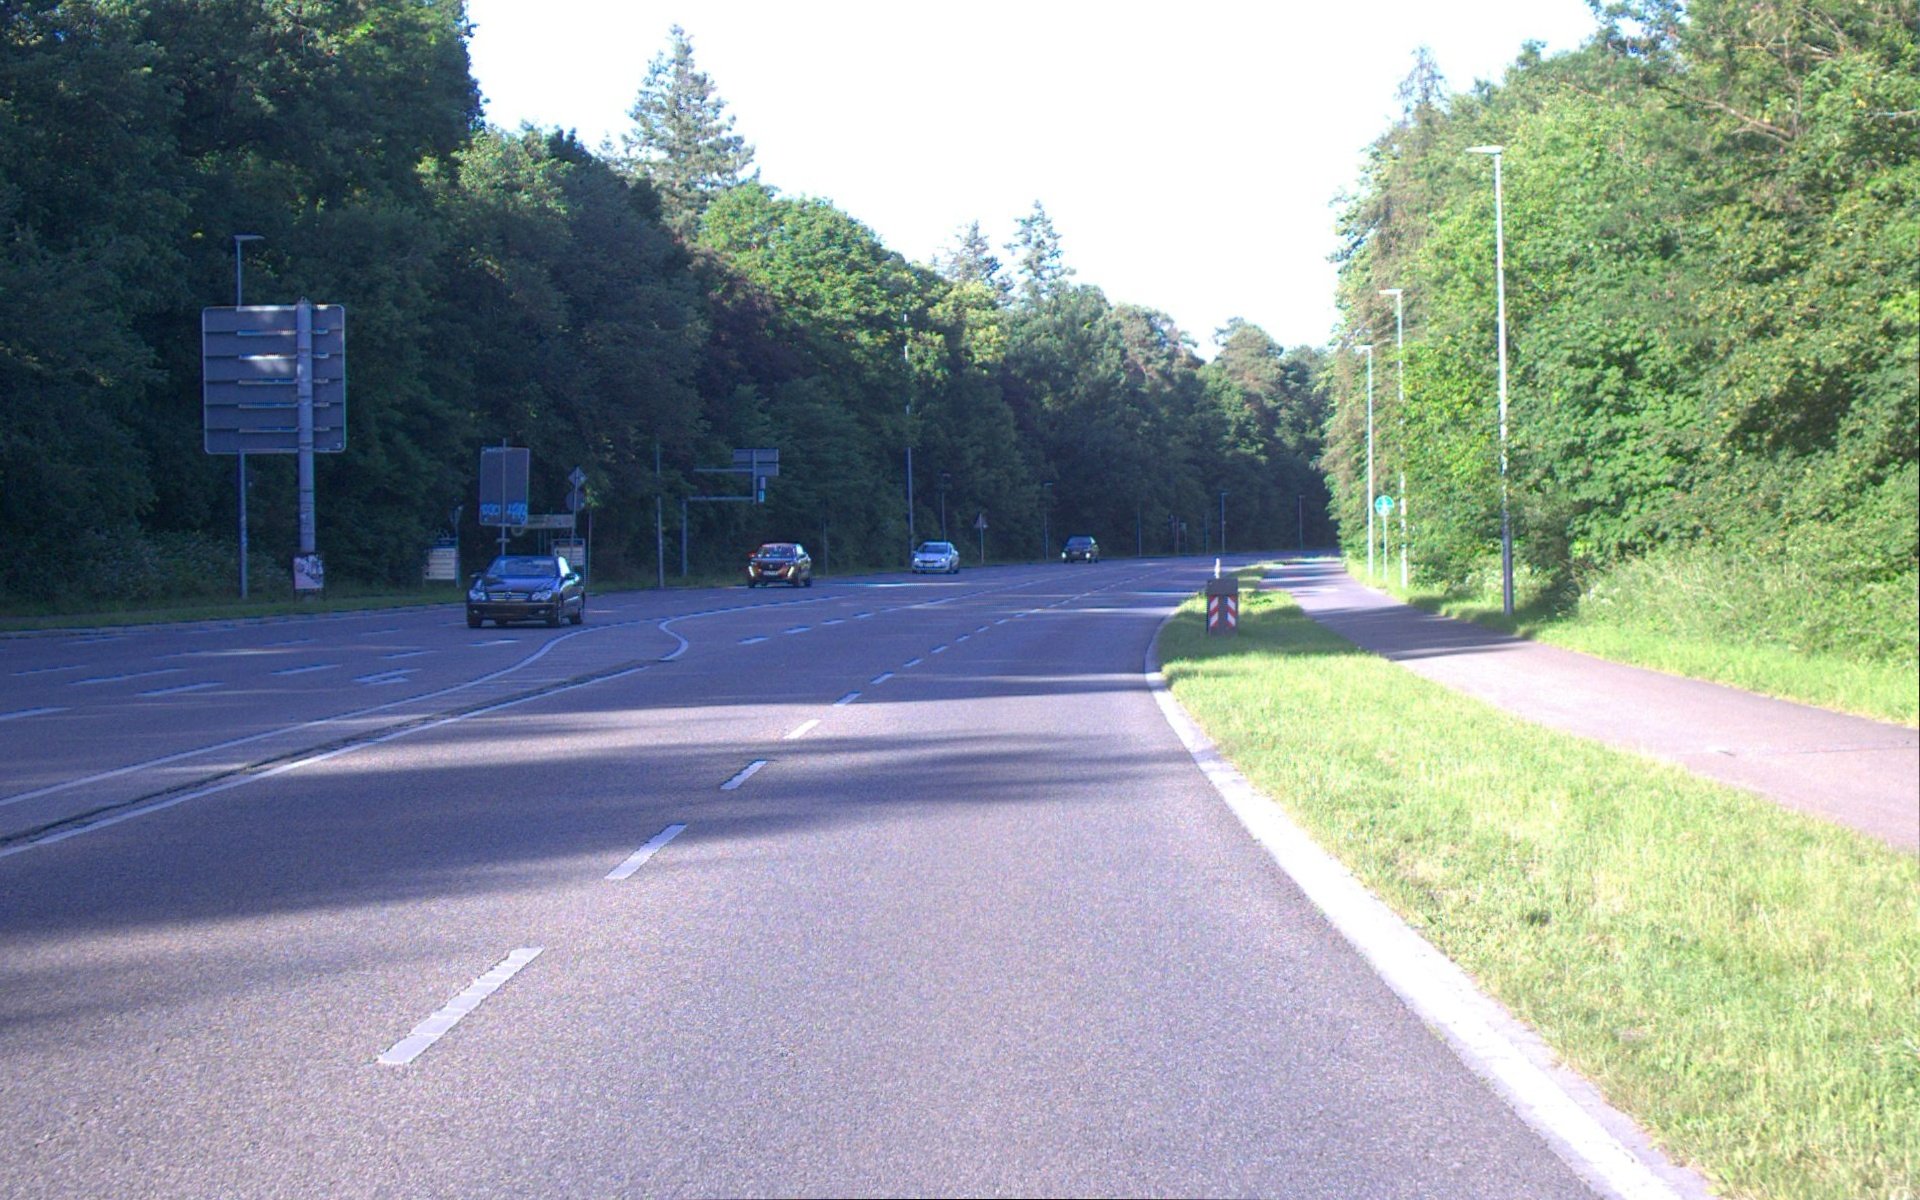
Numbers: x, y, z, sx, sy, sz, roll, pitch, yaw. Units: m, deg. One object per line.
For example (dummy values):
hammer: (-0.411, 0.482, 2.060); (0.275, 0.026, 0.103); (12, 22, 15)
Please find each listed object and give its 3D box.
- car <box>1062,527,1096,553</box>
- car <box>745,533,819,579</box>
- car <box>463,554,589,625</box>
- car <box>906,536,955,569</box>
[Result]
car: (7.403, -3.738, 212.954); (1.825, 1.584, 4.350); (0, 1, 6)
car: (-6.111, -1.538, 118.509); (1.825, 1.539, 4.255); (0, 1, 7)
car: (-8.178, -0.224, 65.088); (1.744, 1.230, 4.673); (-1, 1, 1)
car: (-1.346, -2.202, 159.498); (1.825, 1.499, 4.305); (0, 1, 6)
